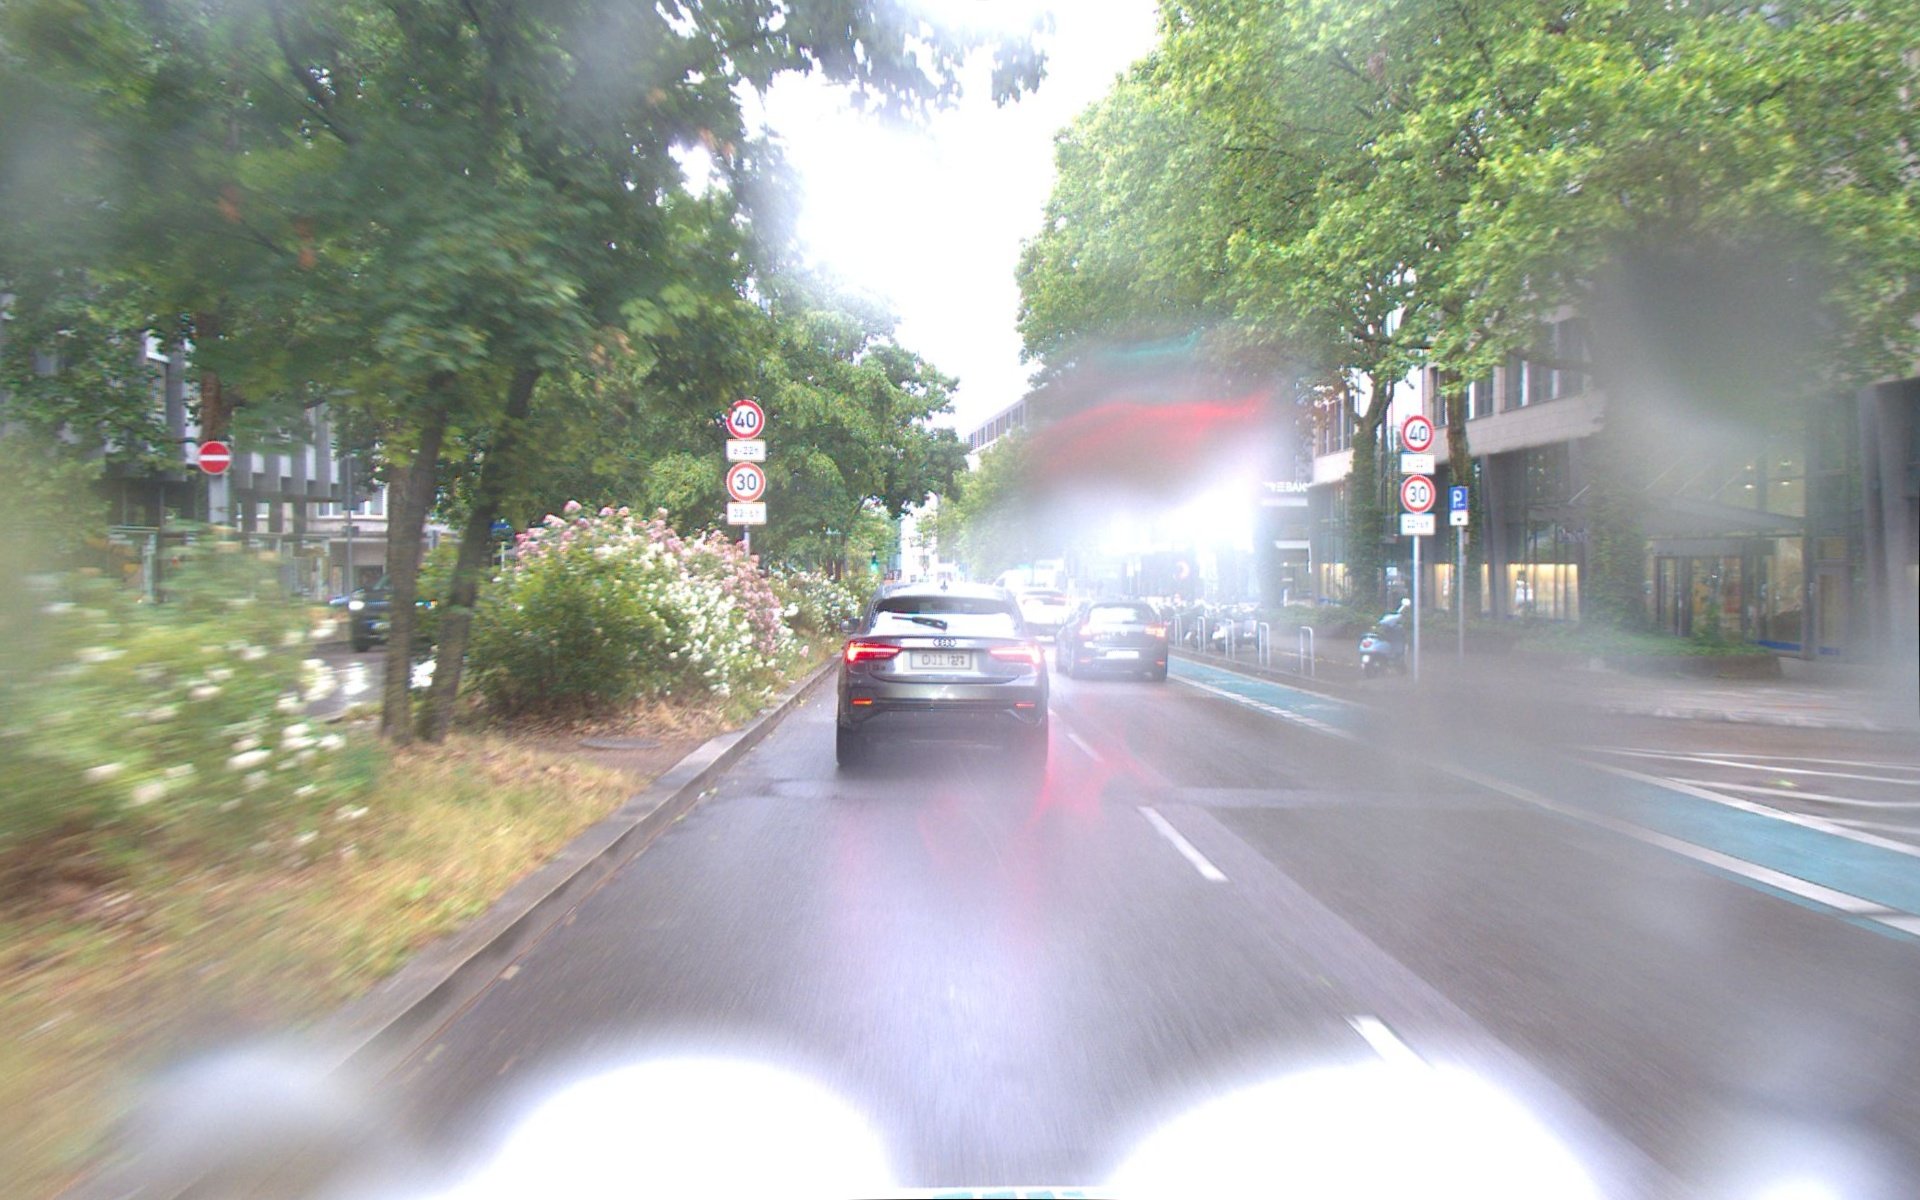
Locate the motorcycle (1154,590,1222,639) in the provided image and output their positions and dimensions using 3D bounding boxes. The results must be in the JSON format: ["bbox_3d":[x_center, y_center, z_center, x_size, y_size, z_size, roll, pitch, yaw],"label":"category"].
[{"bbox_3d":[6.872,0.433,49.938,1.929,1.397,0.724,-2,2,-23],"label":"motorcycle"}]

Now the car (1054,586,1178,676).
[{"bbox_3d":[2.832,0.529,30.754,1.812,1.550,4.037,0,0,-2],"label":"car"}]

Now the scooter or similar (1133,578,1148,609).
[{"bbox_3d":[7.716,-0.285,70.711,0.478,1.281,1.293,-1,2,-1],"label":"scooter or similar"}]

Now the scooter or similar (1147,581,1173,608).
[{"bbox_3d":[8.983,-0.231,74.342,0.483,1.218,1.279,0,0,-32],"label":"scooter or similar"}]

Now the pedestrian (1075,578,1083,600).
[{"bbox_3d":[9.933,-0.924,138.579,0.542,1.836,0.761,1,-1,-5],"label":"pedestrian"}]

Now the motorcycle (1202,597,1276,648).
[{"bbox_3d":[7.295,0.578,43.173,2.039,1.234,0.676,-3,0,-37],"label":"motorcycle"}]

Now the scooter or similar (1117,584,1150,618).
[{"bbox_3d":[6.942,0.042,66.188,1.262,1.300,0.537,-1,2,2],"label":"scooter or similar"}]

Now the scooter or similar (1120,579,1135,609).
[{"bbox_3d":[7.453,-0.278,73.640,0.478,1.281,1.293,-1,2,-1],"label":"scooter or similar"}]

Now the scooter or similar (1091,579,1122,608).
[{"bbox_3d":[6.472,-0.289,73.063,1.262,1.281,0.490,-1,2,10],"label":"scooter or similar"}]

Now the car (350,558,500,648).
[{"bbox_3d":[-10.510,0.040,32.790,1.687,1.666,4.014,1,0,-1],"label":"car"}]

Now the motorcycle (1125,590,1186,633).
[{"bbox_3d":[6.703,0.393,56.639,1.925,1.397,0.725,-2,2,-18],"label":"motorcycle"}]

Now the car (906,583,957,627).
[{"bbox_3d":[-1.070,0.154,60.810,1.812,1.550,4.037,0,0,-2],"label":"car"}]

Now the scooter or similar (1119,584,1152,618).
[{"bbox_3d":[6.969,0.041,65.745,1.262,1.300,0.537,-1,2,2],"label":"scooter or similar"}]

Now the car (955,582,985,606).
[{"bbox_3d":[0.605,-0.402,106.508,1.812,1.550,4.037,0,0,-2],"label":"car"}]

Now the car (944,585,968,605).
[{"bbox_3d":[-0.331,-0.403,131.964,1.812,1.550,4.037,0,0,-2],"label":"car"}]

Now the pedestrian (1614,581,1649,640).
[{"bbox_3d":[19.782,0.305,48.727,0.716,1.722,0.824,0,1,41],"label":"pedestrian"}]

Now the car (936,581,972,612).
[{"bbox_3d":[-0.345,-0.196,86.891,1.812,1.550,4.037,0,0,-2],"label":"car"}]

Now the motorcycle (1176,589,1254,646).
[{"bbox_3d":[7.022,0.466,45.548,2.026,1.453,0.724,-2,2,-23],"label":"motorcycle"}]

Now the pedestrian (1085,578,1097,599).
[{"bbox_3d":[10.730,-0.931,135.493,0.789,1.726,1.186,1,0,-4],"label":"pedestrian"}]

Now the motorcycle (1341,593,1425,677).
[{"bbox_3d":[7.614,0.614,29.706,0.672,1.391,1.937,-3,0,38],"label":"motorcycle"}]

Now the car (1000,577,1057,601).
[{"bbox_3d":[4.740,-0.761,113.892,3.572,1.574,1.716,1,0,17],"label":"car"}]

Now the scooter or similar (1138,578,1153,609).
[{"bbox_3d":[8.056,-0.275,71.952,0.478,1.281,1.293,-1,2,-1],"label":"scooter or similar"}]

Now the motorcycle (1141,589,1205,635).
[{"bbox_3d":[6.868,0.383,53.369,1.929,1.397,0.724,-2,2,-23],"label":"motorcycle"}]

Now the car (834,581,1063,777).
[{"bbox_3d":[-0.164,0.616,15.190,1.812,1.550,4.037,0,0,-2],"label":"car"}]

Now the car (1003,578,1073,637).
[{"bbox_3d":[2.334,0.207,50.172,1.812,1.698,4.037,0,0,-2],"label":"car"}]

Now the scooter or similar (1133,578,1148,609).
[{"bbox_3d":[7.716,-0.285,70.711,0.478,1.281,1.293,-1,2,-1],"label":"scooter or similar"}]

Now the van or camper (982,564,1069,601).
[{"bbox_3d":[4.736,-1.264,119.778,5.945,2.603,2.103,0,0,25],"label":"van or camper"}]
